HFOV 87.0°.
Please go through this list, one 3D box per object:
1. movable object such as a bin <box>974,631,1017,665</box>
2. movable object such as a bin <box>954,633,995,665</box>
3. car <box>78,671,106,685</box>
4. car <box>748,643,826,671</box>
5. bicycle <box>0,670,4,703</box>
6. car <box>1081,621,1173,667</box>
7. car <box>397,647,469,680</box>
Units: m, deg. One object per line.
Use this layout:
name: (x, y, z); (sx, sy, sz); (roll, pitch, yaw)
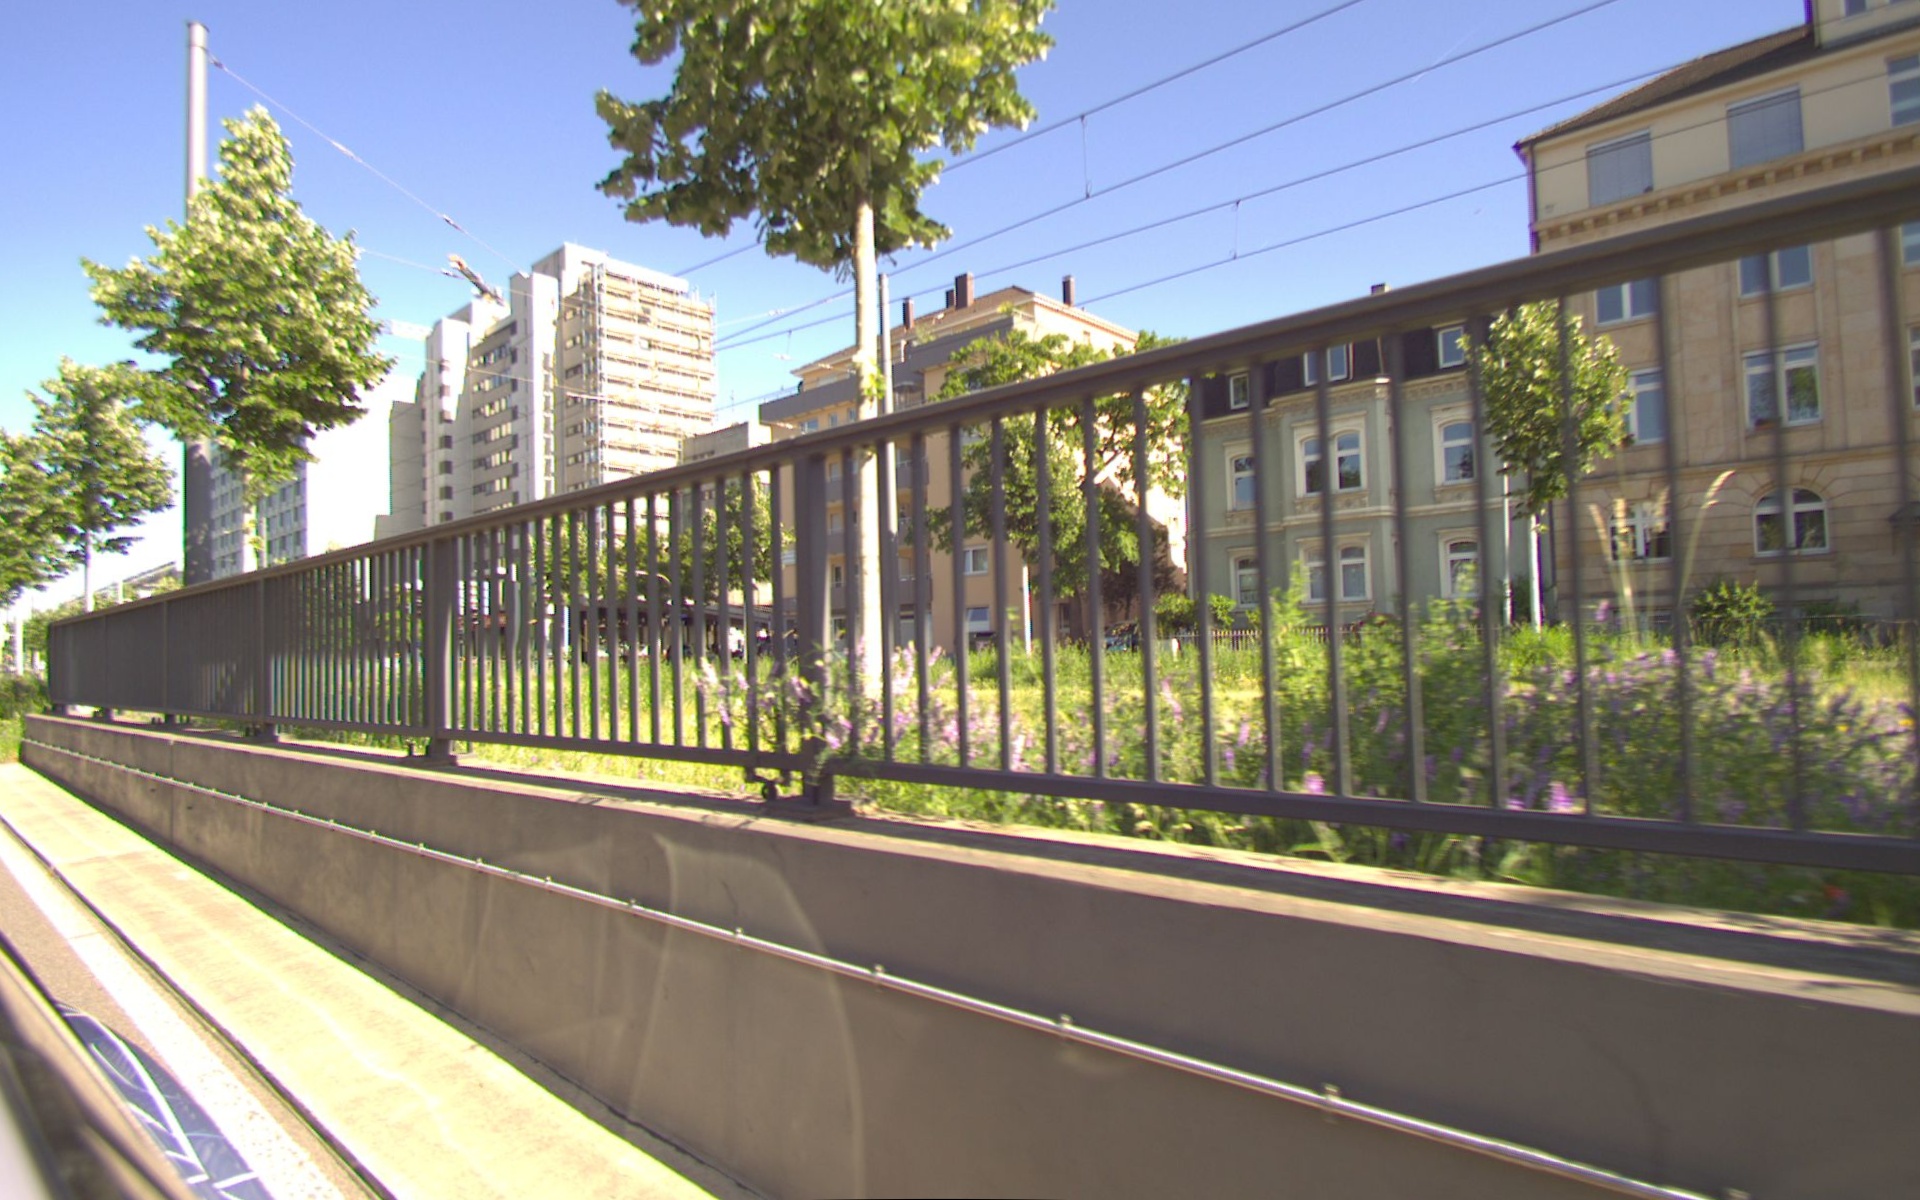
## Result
movable object such as a bin: (1.546, 2.098, 44.229); (1.327, 1.410, 1.249); (-4, -2, 45)
movable object such as a bin: (0.644, 2.181, 45.218); (1.326, 1.381, 1.250); (-4, -3, 42)
car: (-104.619, 9.418, 122.010); (4.591, 1.582, 1.889); (-4, -3, 41)
car: (-10.847, 3.557, 63.647); (2.013, 1.605, 4.592); (-4, -3, 41)
bicycle: (-31.813, 2.799, 32.366); (1.959, 1.064, 0.723); (-1, -1, 8)
car: (6.848, 1.773, 41.206); (1.914, 1.740, 3.947); (-4, -3, 39)
car: (-27.309, 3.293, 52.386); (3.991, 1.614, 1.725); (-4, -3, 36)
